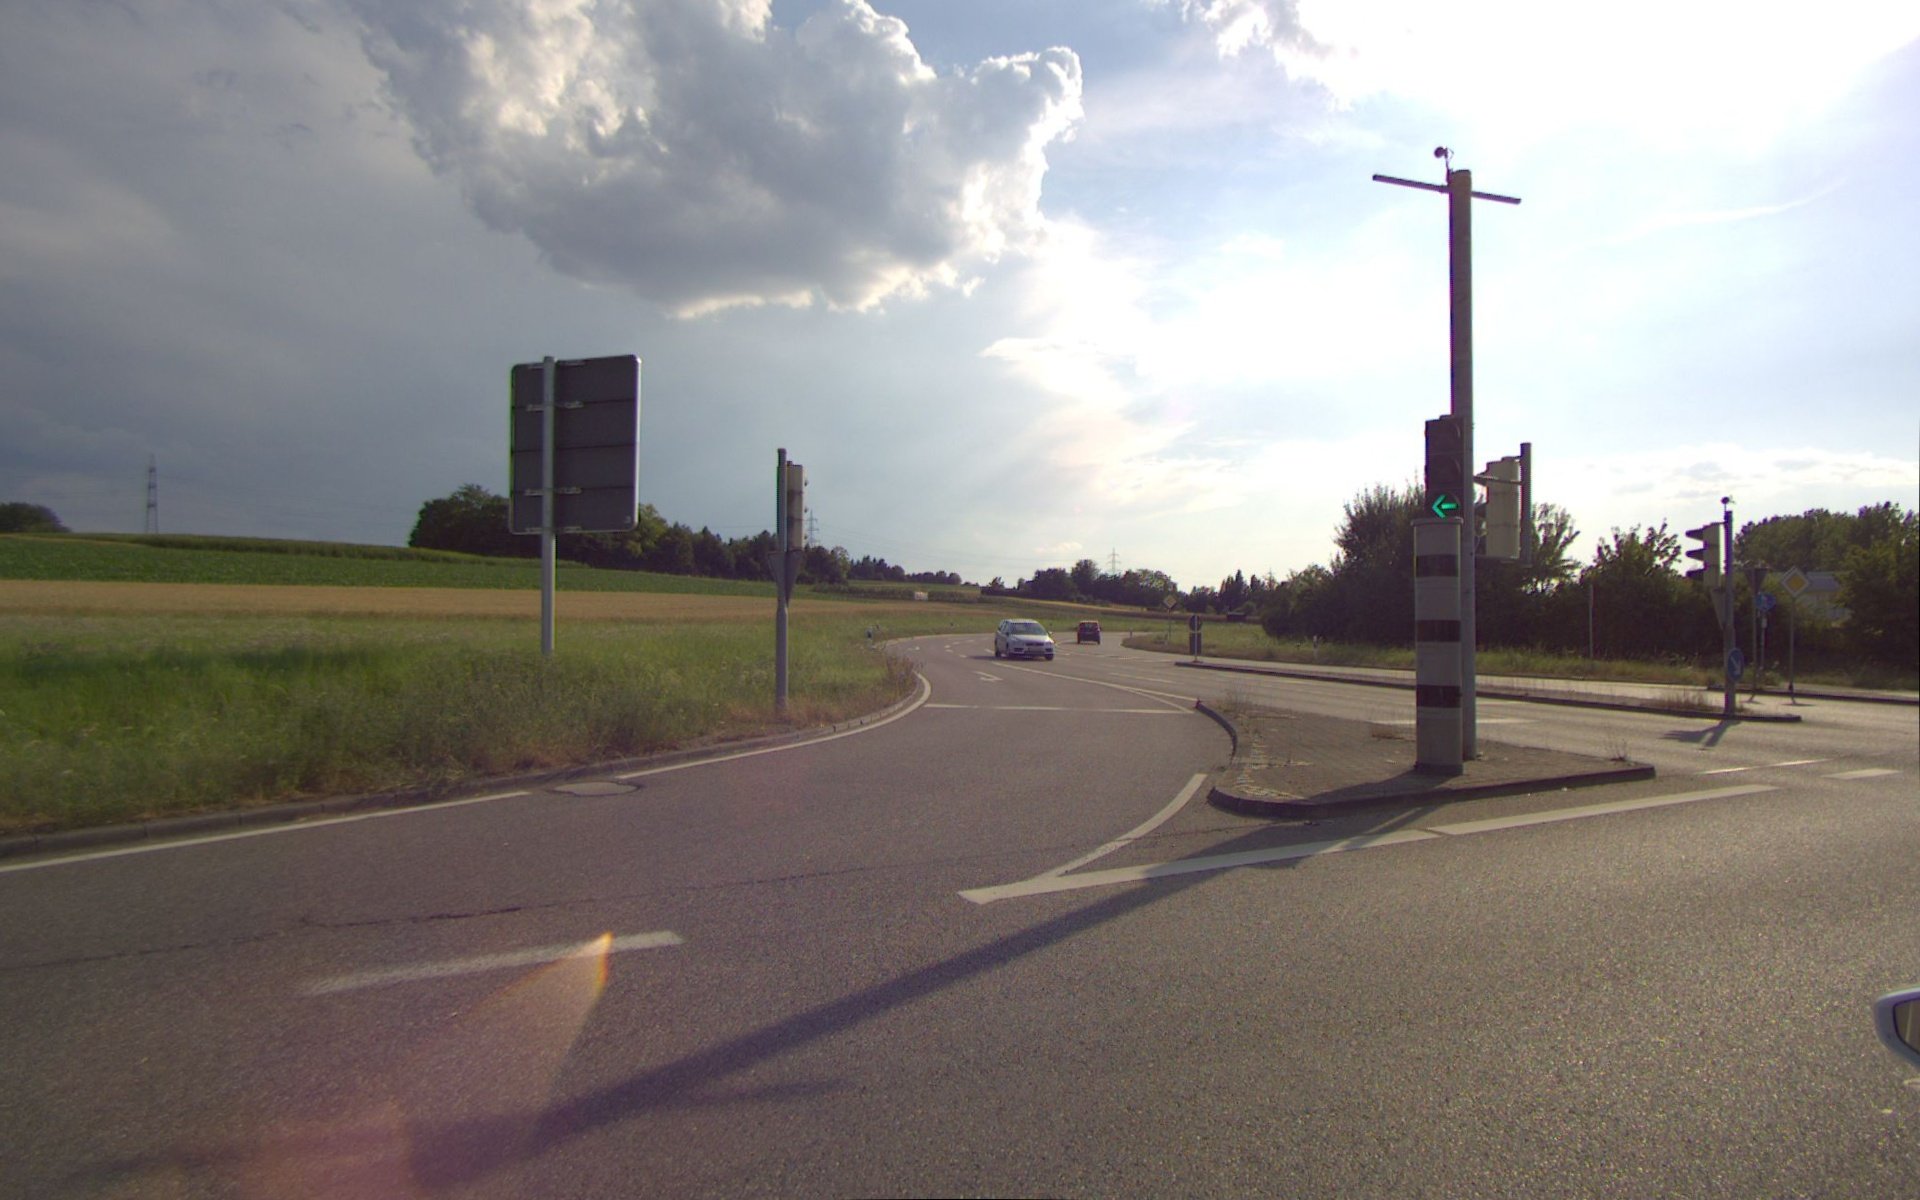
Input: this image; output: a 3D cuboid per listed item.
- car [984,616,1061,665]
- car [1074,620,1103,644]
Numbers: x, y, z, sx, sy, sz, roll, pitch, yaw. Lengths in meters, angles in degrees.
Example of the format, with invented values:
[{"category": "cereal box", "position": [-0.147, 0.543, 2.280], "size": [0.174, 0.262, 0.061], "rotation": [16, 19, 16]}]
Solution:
[{"category": "car", "position": [2.349, 1.540, 39.173], "size": [1.789, 1.549, 4.341], "rotation": [2, 1, -13]}, {"category": "car", "position": [8.629, 2.137, 67.831], "size": [1.693, 1.520, 3.859], "rotation": [2, 0, 5]}]
